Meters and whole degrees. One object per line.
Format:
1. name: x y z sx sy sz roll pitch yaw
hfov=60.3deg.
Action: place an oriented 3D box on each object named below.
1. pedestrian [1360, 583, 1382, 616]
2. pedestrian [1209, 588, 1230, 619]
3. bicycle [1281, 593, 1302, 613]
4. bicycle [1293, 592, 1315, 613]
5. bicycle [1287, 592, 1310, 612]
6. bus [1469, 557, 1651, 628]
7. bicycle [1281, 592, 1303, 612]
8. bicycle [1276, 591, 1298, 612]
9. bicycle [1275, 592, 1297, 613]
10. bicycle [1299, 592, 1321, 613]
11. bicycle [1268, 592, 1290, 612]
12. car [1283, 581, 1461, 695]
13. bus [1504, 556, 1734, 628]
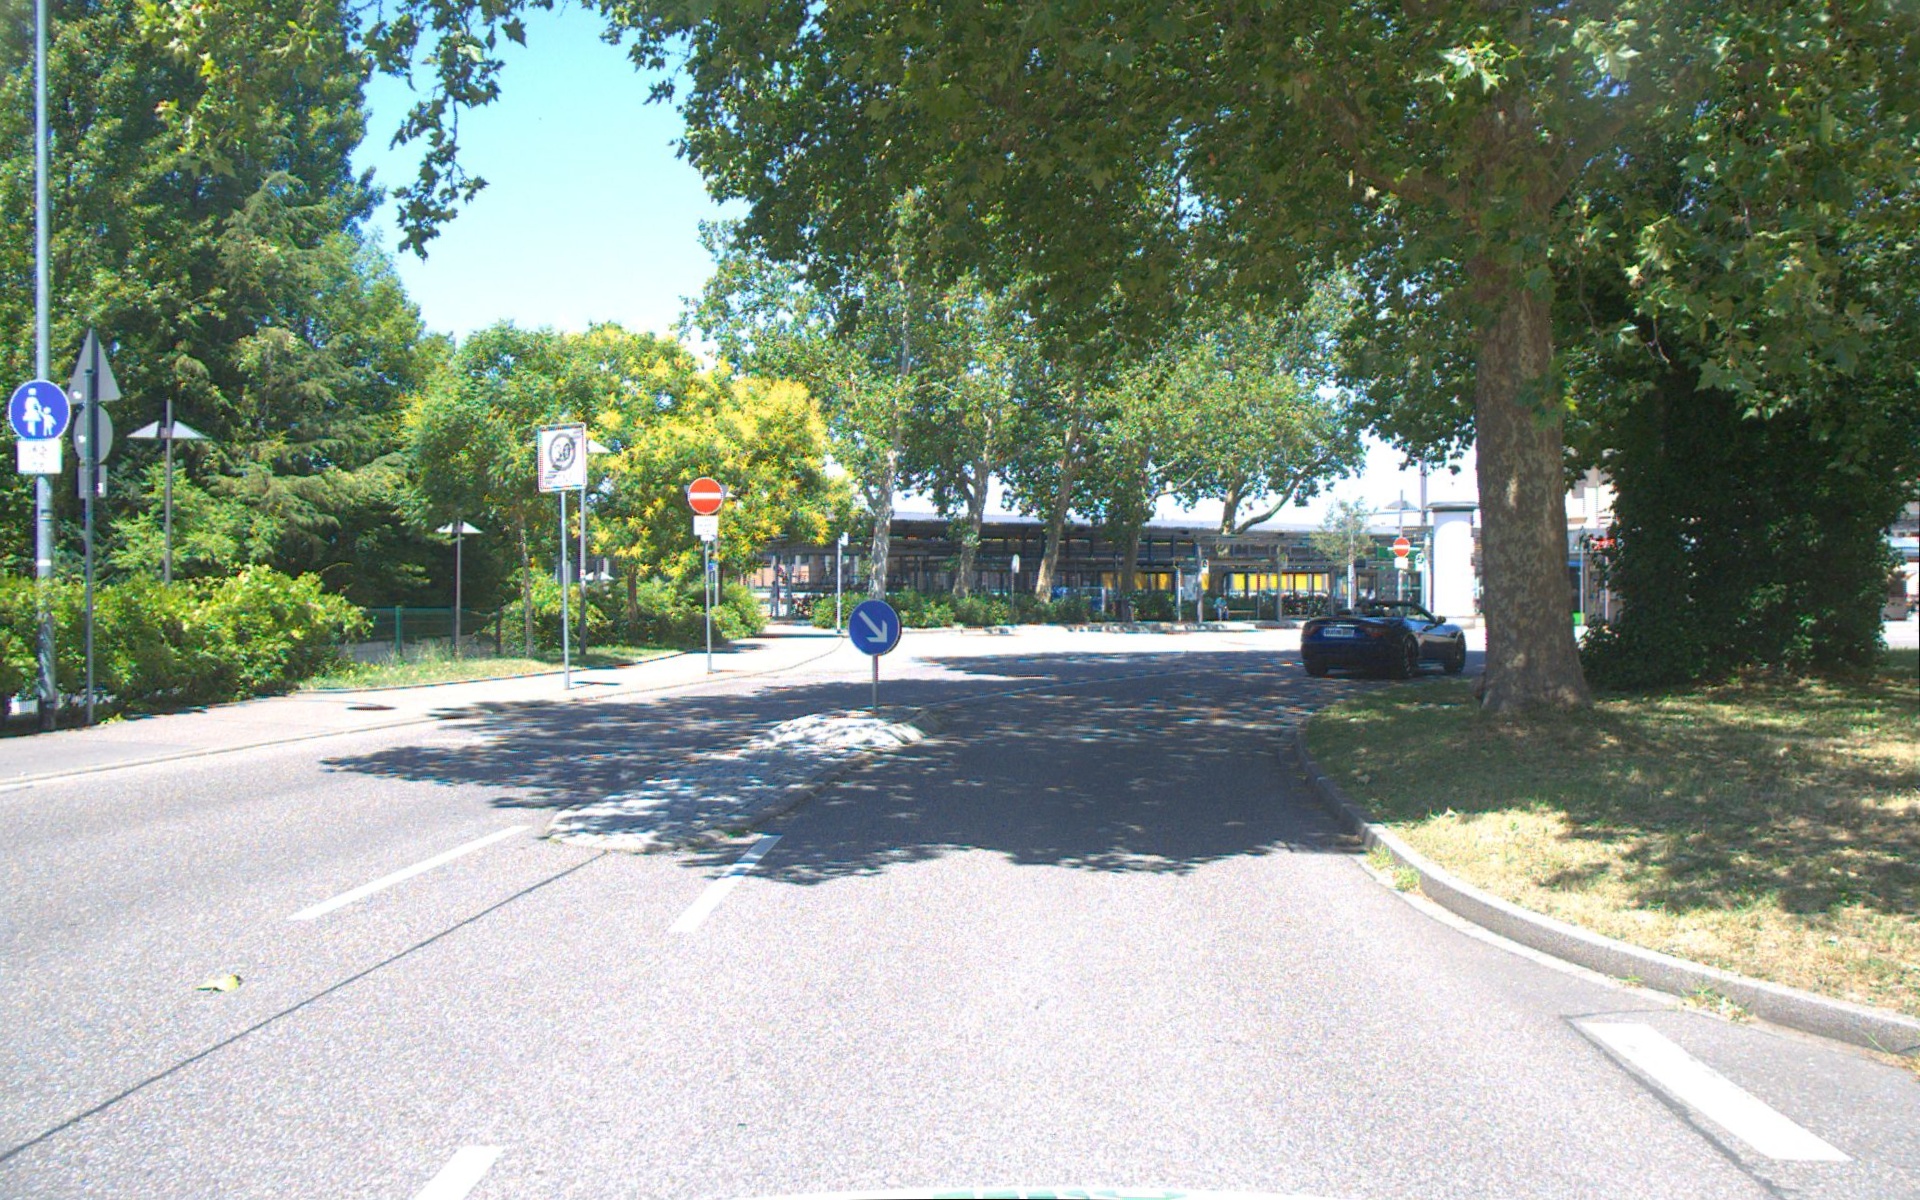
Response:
1. pedestrian: 20.801 -0.018 83.740 0.806 1.645 0.765 0 1 39
2. pedestrian: 12.329 0.172 78.546 0.812 1.489 0.600 0 0 -35
3. bicycle: 18.649 0.152 93.065 0.381 1.113 1.372 2 -1 -30
4. bicycle: 19.045 0.135 91.538 0.381 1.113 1.372 2 -1 -30
5. bicycle: 18.685 0.125 91.347 0.381 1.113 1.371 2 -1 -30
6. bus: 31.730 -0.418 87.068 12.066 3.588 2.145 0 0 -33
7. bicycle: 18.277 0.112 91.110 0.381 1.113 1.371 2 -1 -31
8. bicycle: 17.958 0.100 90.779 0.381 1.113 1.372 2 -1 -30
9. bicycle: 18.295 0.141 92.833 0.381 1.113 1.372 2 -1 -30
10. bicycle: 19.392 0.146 91.758 0.381 1.113 1.372 2 -1 -30
11. bicycle: 17.844 0.127 92.554 0.381 1.113 1.372 2 -1 -29
12. car: 7.487 0.617 29.786 2.085 1.880 4.040 1 1 30
13. bus: 30.537 -0.315 76.163 13.723 3.094 2.652 0 0 -34
